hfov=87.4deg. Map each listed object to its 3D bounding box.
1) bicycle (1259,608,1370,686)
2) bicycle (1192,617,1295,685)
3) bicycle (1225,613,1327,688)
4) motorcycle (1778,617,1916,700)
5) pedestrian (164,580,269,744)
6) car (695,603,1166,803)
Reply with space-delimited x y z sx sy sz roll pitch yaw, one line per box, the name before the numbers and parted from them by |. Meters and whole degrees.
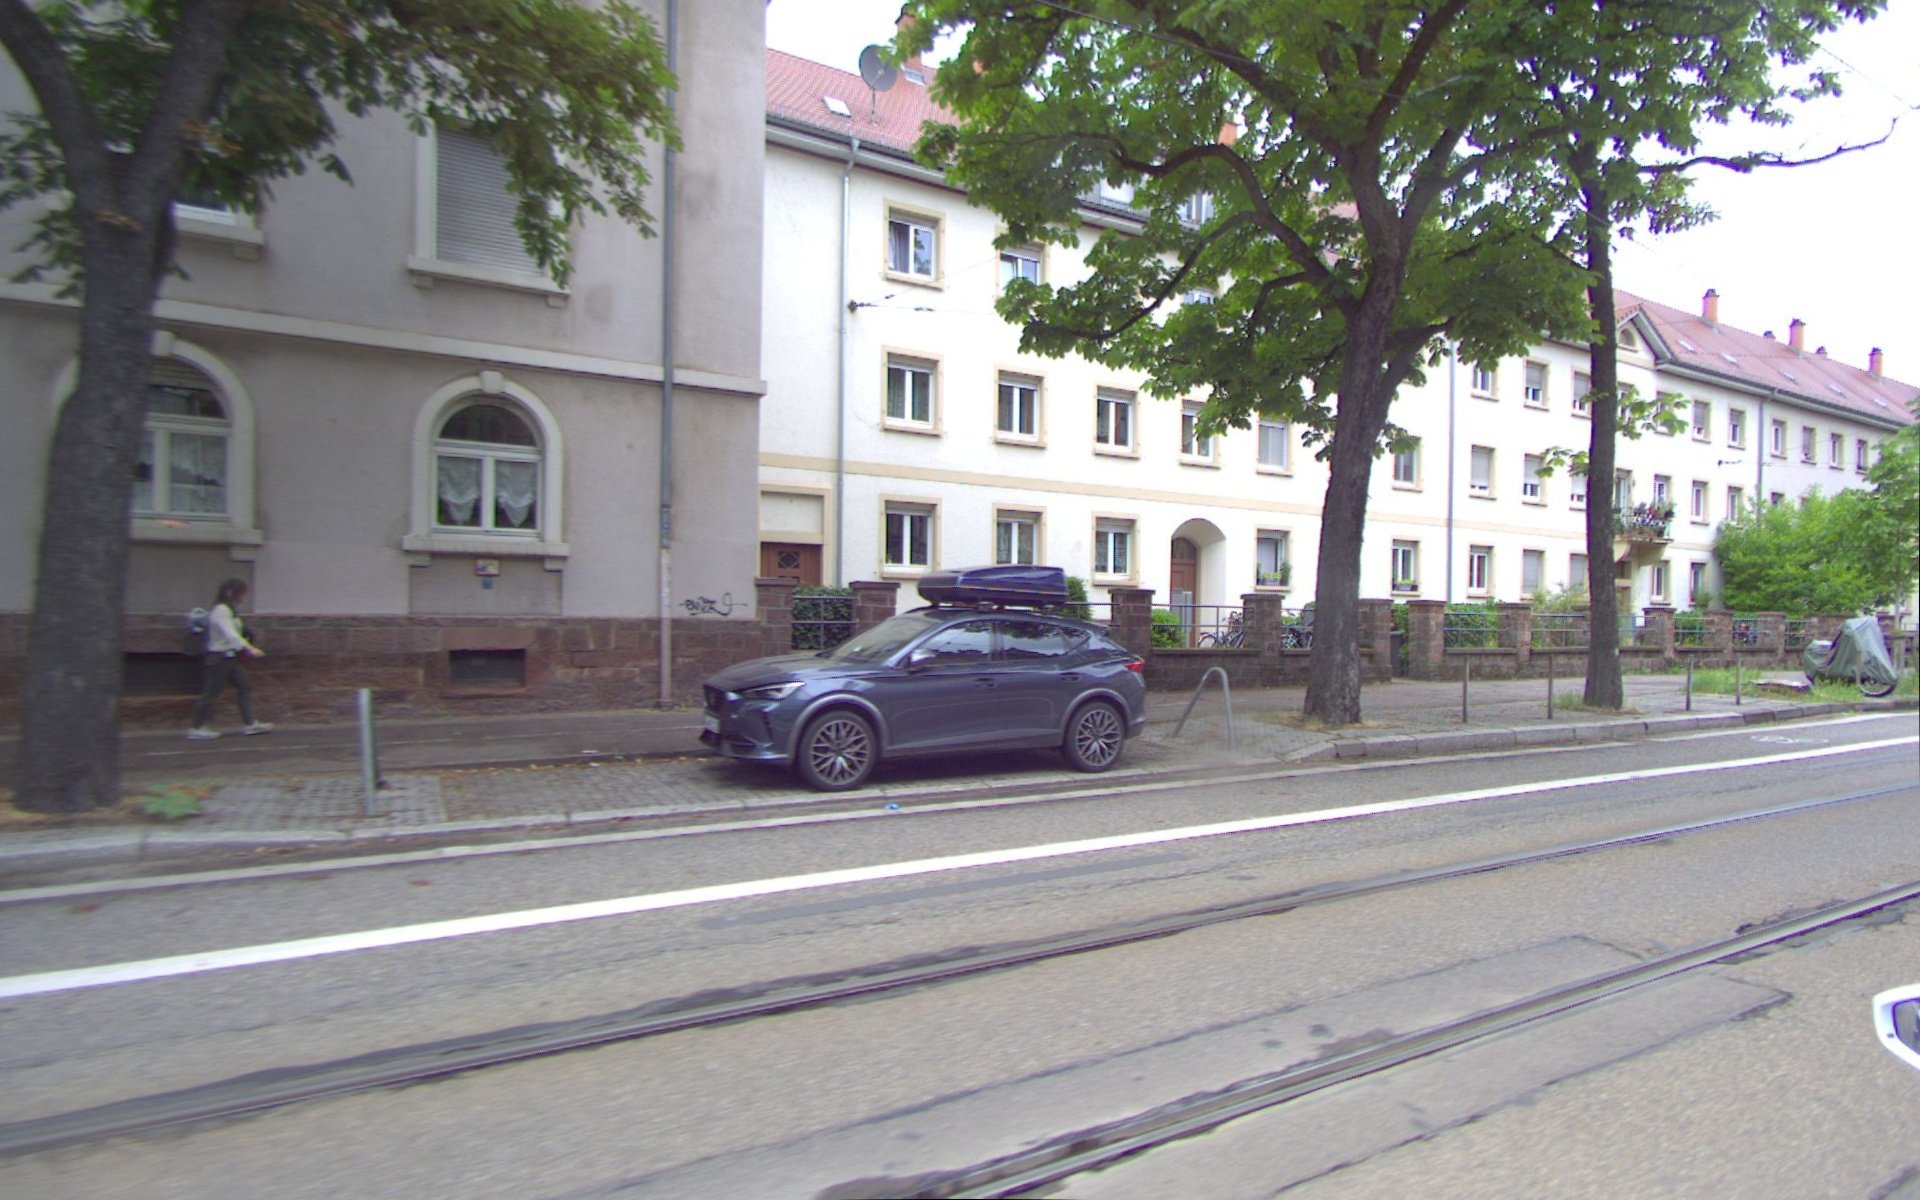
bicycle | 6.716 0.875 19.014 2.115 1.400 0.789 1 0 -30
bicycle | 5.741 1.006 20.296 2.116 1.315 0.744 1 0 -31
bicycle | 6.206 0.974 19.694 2.115 1.400 0.625 1 0 -30
motorcycle | 18.091 1.150 20.570 0.908 1.531 2.273 2 0 6
pedestrian | -7.047 0.568 9.556 0.714 1.487 0.562 1 0 -30
car | -0.232 0.843 9.661 4.186 1.531 1.769 1 1 -29
